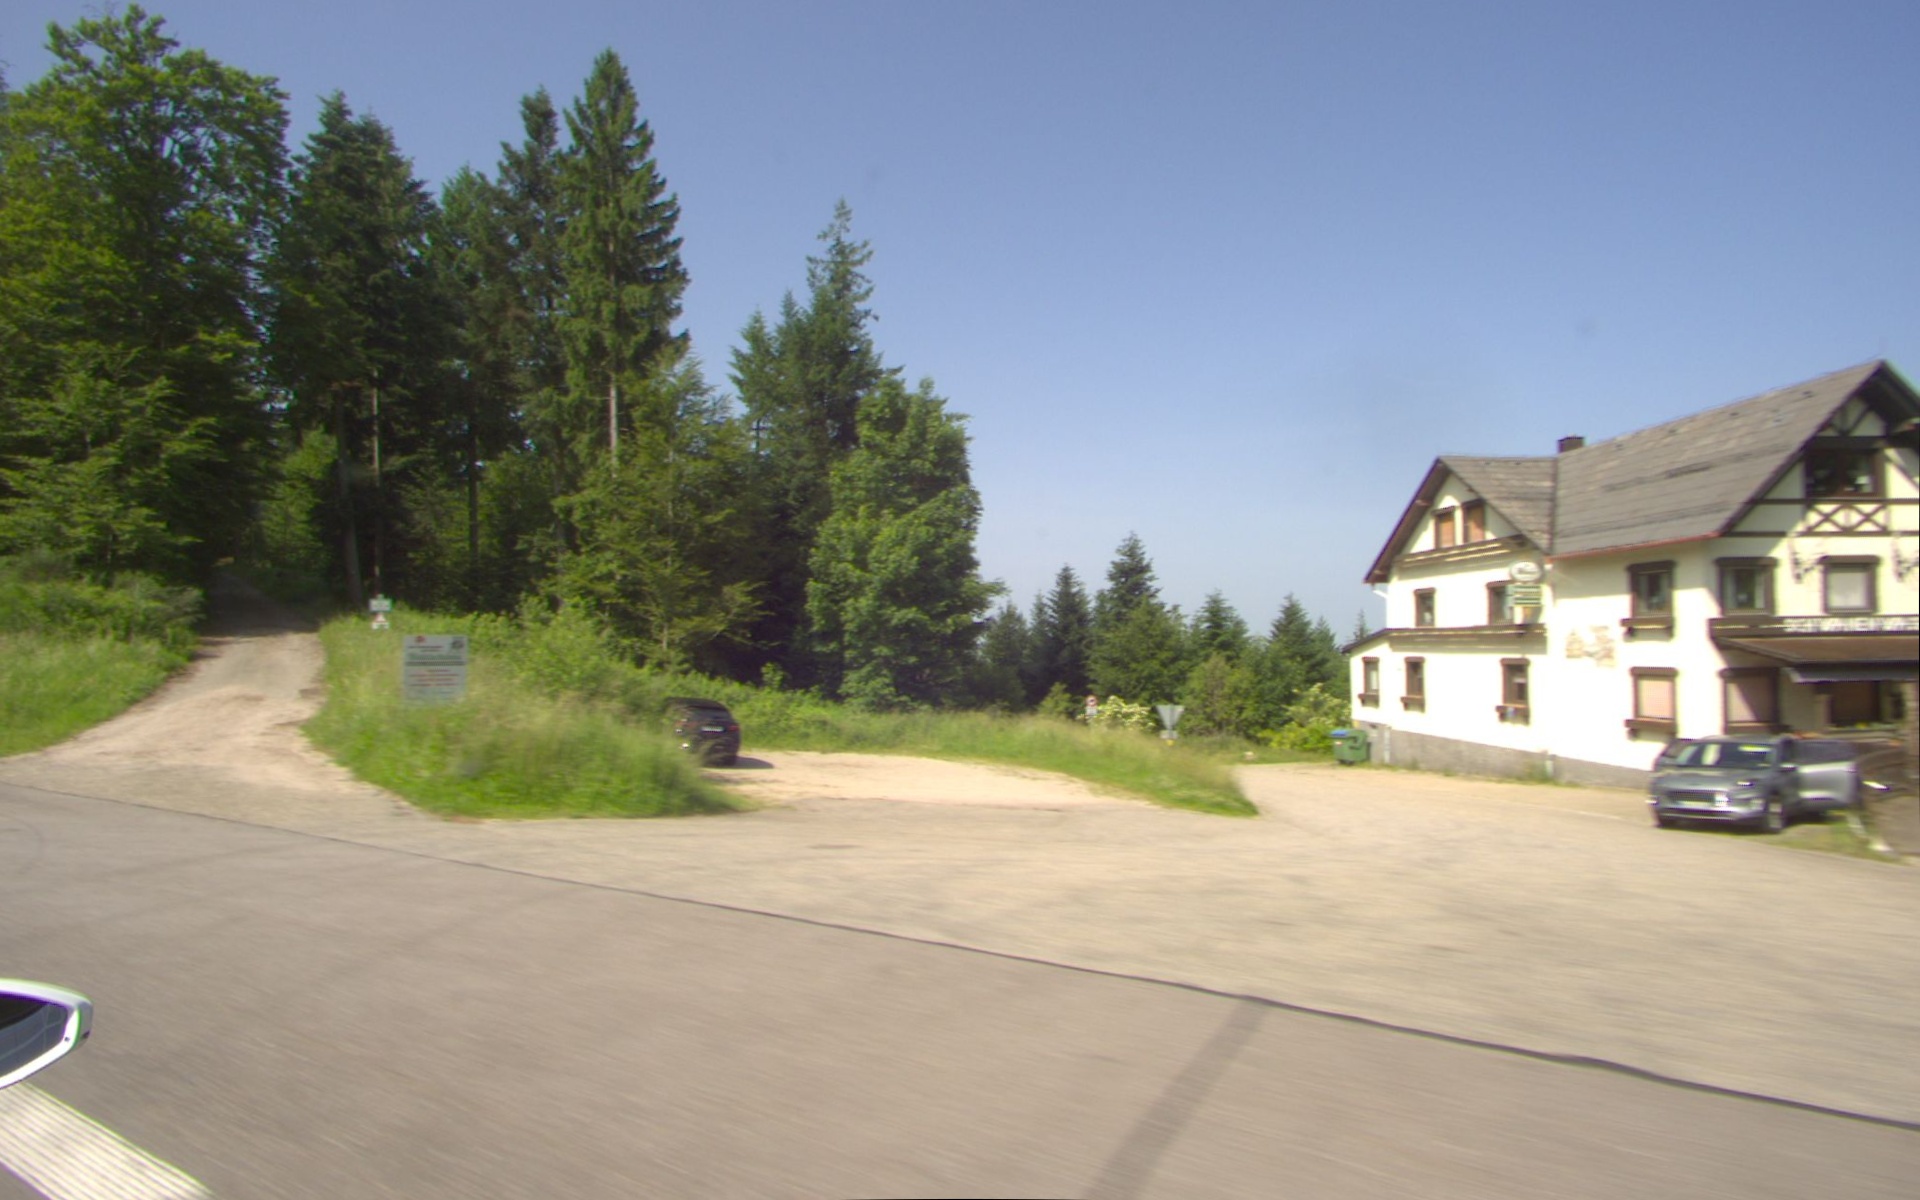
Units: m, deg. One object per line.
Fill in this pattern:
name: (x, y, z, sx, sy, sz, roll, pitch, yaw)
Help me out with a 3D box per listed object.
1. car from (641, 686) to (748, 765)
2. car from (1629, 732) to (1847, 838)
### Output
car: (-6.931, 3.194, 25.883, 1.910, 1.612, 3.987, 7, -4, -24)
car: (14.735, 3.390, 18.904, 4.424, 1.640, 1.968, 3, -8, -35)
